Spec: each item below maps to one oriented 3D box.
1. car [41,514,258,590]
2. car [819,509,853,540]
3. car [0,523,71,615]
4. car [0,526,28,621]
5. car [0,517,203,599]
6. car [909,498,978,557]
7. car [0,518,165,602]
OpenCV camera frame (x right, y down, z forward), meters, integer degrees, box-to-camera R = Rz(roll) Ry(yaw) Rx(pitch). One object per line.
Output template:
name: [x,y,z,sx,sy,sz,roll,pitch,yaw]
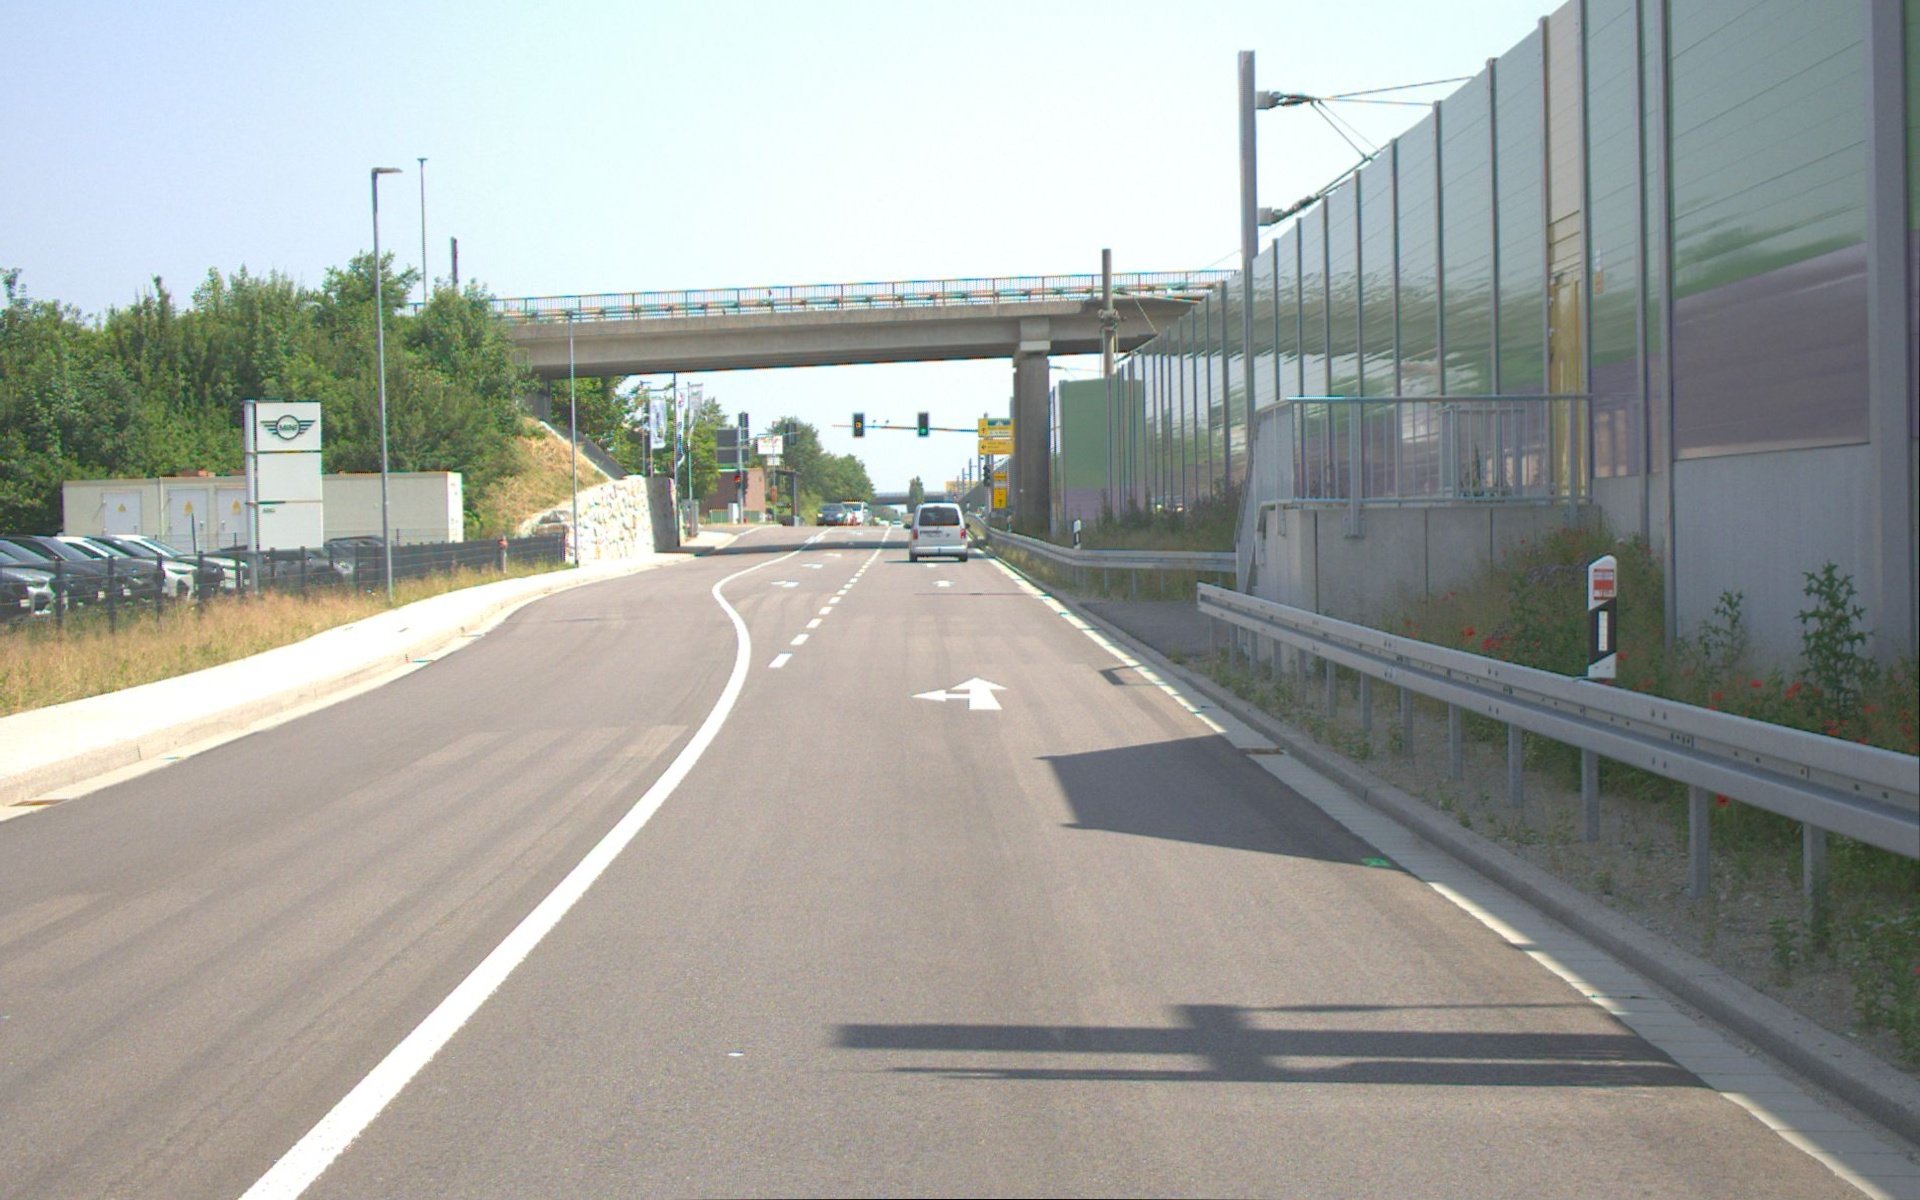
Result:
car: [-17.267,-1.039,73.360,4.164,1.461,1.815,-2,2,0]
car: [-7.745,-4.737,215.649,1.993,1.919,4.000,-2,1,-1]
car: [-17.162,-0.482,57.320,4.164,1.461,1.815,-2,2,0]
car: [-17.229,-0.368,54.849,4.164,1.461,1.815,-2,2,0]
car: [-17.210,-0.832,67.643,4.164,1.461,1.815,-2,2,0]
car: [-0.486,-2.249,105.574,1.993,1.751,4.000,-1,2,1]
car: [-17.269,-0.748,64.678,4.164,1.461,1.815,-2,2,0]
